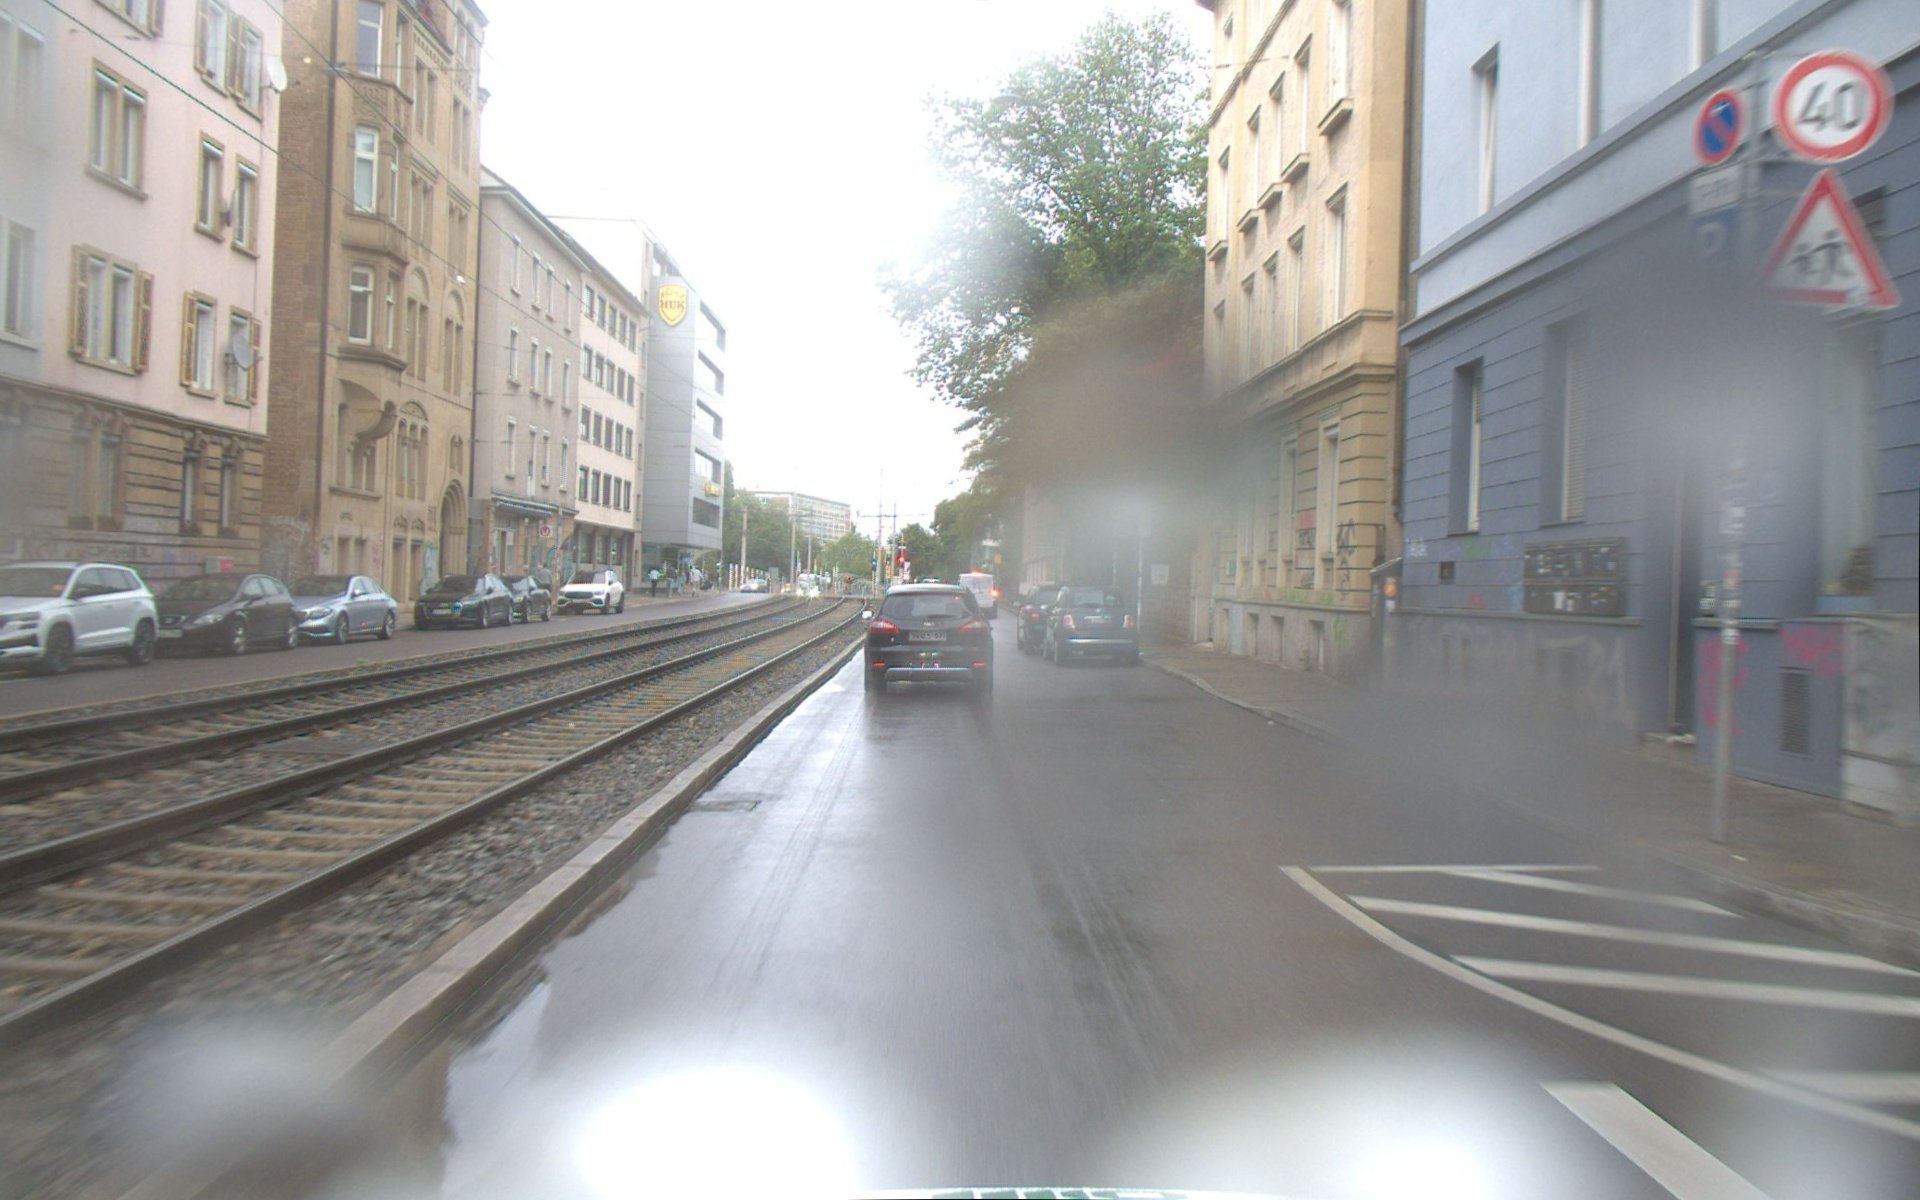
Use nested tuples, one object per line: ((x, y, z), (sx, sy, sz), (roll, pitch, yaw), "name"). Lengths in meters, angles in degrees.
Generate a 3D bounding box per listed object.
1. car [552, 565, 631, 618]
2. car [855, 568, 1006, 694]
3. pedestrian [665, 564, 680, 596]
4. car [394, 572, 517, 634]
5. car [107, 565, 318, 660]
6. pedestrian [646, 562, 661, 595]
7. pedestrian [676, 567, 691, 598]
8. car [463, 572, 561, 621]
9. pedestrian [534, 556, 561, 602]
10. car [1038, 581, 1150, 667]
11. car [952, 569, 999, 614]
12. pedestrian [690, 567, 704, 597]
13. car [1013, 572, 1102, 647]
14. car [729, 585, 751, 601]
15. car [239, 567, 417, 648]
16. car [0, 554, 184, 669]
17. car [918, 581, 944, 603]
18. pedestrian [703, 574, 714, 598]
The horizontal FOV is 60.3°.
((-14.070, -0.314, 63.405), (1.953, 1.871, 5.069), (2, 0, -2), "car")
((-0.405, 0.446, 23.949), (1.953, 1.622, 4.270), (1, -1, 0), "car")
((-16.976, -1.180, 97.657), (0.729, 1.886, 0.839), (1, -2, -2), "pedestrian")
((-13.818, 0.089, 45.589), (1.953, 1.545, 4.675), (2, 0, -1), "car")
((-13.585, 0.219, 30.367), (1.953, 1.545, 4.208), (2, 0, -1), "car")
((-18.076, -1.251, 97.519), (0.729, 1.886, 0.839), (1, -2, -2), "pedestrian")
((-17.343, -1.095, 103.790), (0.729, 1.886, 0.839), (1, -2, -2), "pedestrian")
((-14.070, -0.093, 52.166), (1.953, 1.400, 4.237), (2, 0, -1), "car")
((-16.405, -0.814, 65.733), (0.785, 1.781, 0.984), (2, 0, -2), "pedestrian")
((2.555, 0.425, 32.369), (1.703, 1.515, 3.999), (2, 0, -2), "car")
((0.660, -0.339, 73.632), (1.953, 1.848, 4.270), (1, -1, 0), "car")
((-16.486, -1.125, 103.819), (0.729, 1.886, 0.839), (1, -2, -2), "pedestrian")
((2.143, 0.174, 37.208), (1.609, 1.542, 4.038), (2, 0, -2), "car")
((-21.567, -0.728, 162.090), (1.957, 1.467, 3.992), (2, 0, -9), "car")
((-13.587, 0.157, 35.921), (1.953, 1.545, 4.991), (2, 0, -1), "car")
((-13.557, 0.132, 24.591), (1.953, 1.545, 4.434), (2, 0, -1), "car")
((-2.274, -0.638, 131.271), (1.953, 1.622, 4.270), (1, -1, 0), "car")
((-20.814, -1.157, 136.861), (0.729, 1.886, 0.839), (1, -2, -2), "pedestrian")
